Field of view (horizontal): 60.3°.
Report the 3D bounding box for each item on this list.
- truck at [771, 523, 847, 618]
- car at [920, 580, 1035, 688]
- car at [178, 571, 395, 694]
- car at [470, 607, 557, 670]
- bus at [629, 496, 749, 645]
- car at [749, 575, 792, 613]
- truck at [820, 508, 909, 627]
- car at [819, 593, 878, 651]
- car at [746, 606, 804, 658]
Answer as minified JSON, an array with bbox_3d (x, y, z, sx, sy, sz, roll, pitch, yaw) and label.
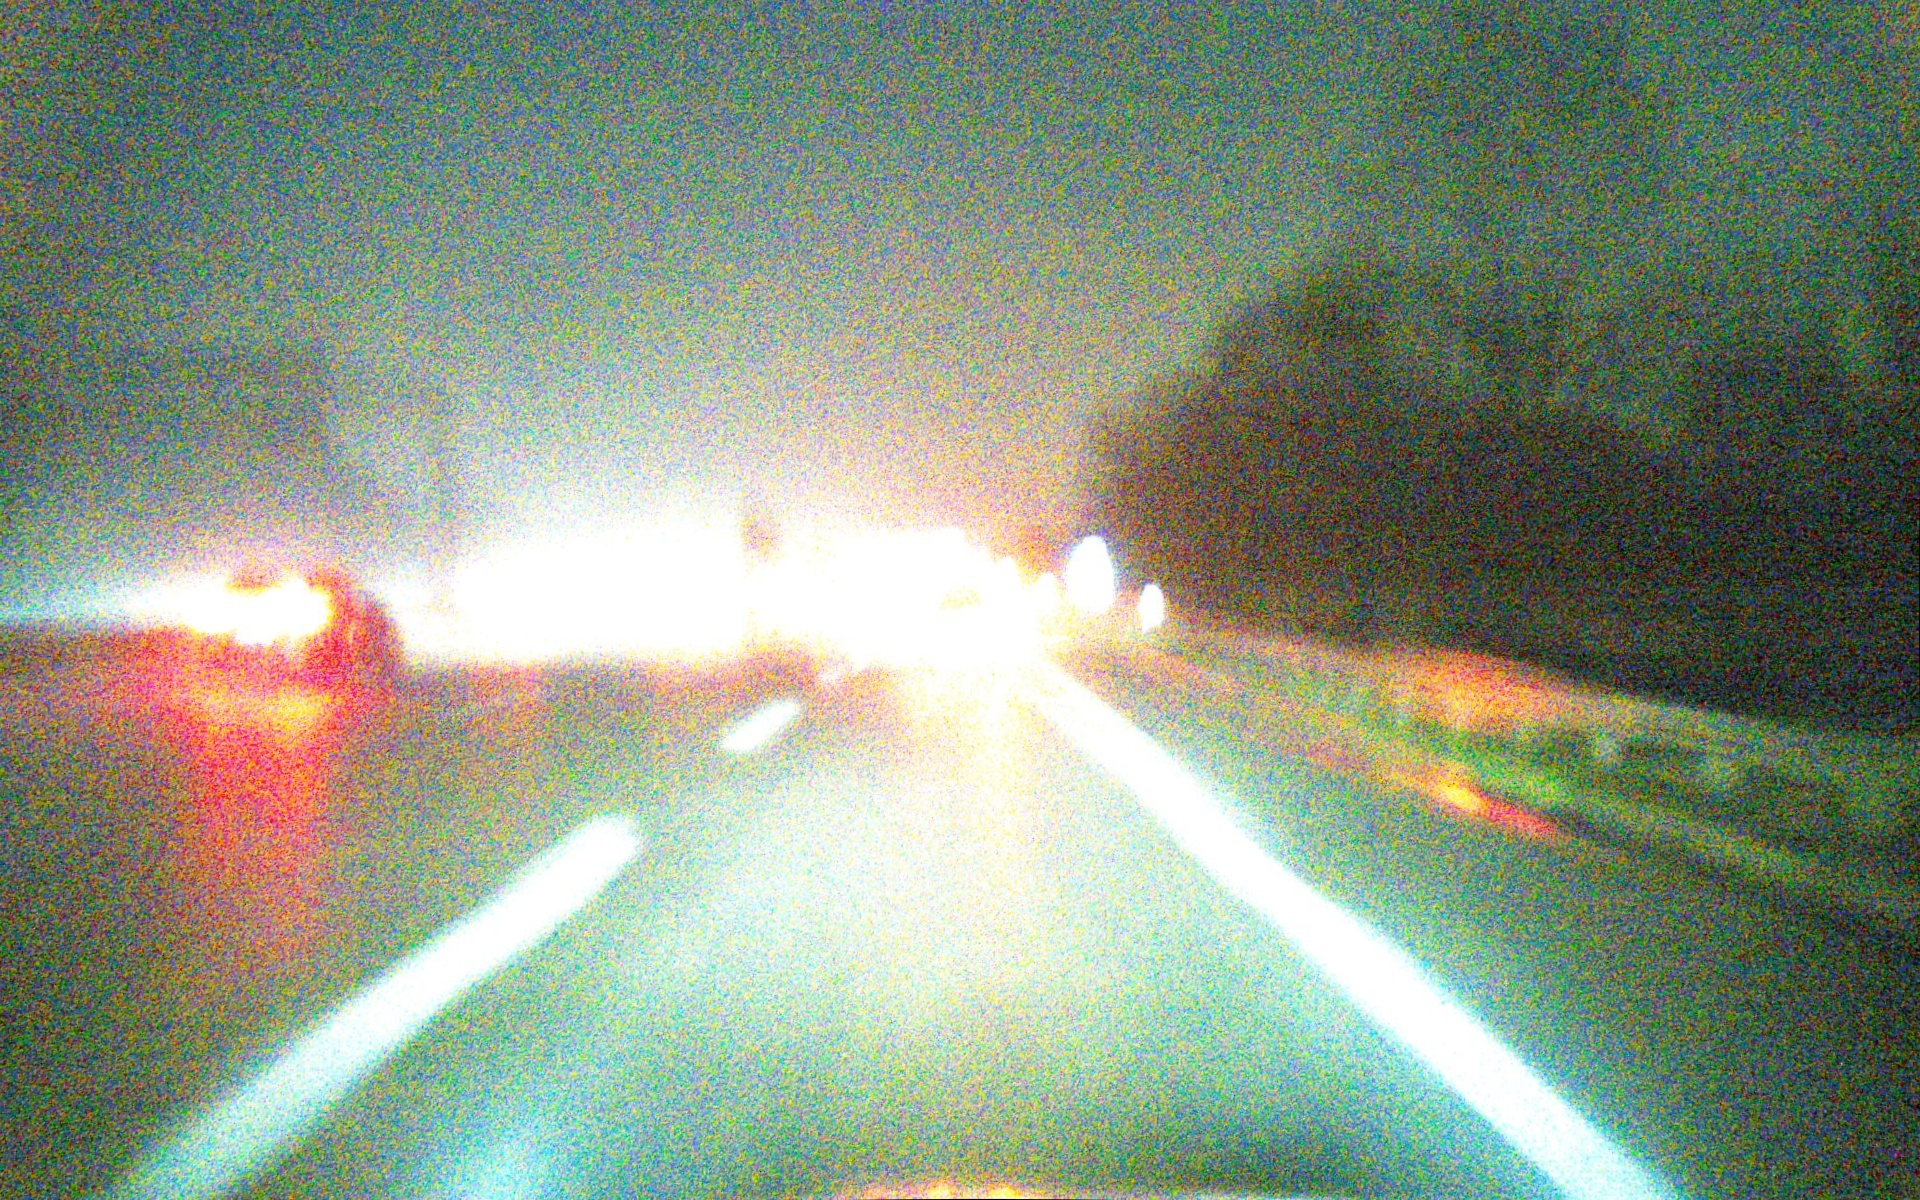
[{"bbox_3d":[-9.669,-1.794,107.428,4.125,5.747,11.463,1,0,-2],"label":"truck"},{"bbox_3d":[0.271,0.598,30.665,1.953,1.839,3.999,1,0,-1],"label":"car"},{"bbox_3d":[-9.783,0.453,24.358,1.956,1.624,3.993,1,0,-7],"label":"car"},{"bbox_3d":[-12.482,1.049,46.446,1.661,1.679,3.836,1,0,-5],"label":"car"},{"bbox_3d":[-9.130,-0.892,56.910,3.036,4.587,10.903,1,0,-4],"label":"bus"},{"bbox_3d":[-9.419,-0.287,82.459,1.954,1.839,3.997,1,0,-4],"label":"car"},{"bbox_3d":[-4.823,-1.552,86.260,4.125,5.747,11.463,1,0,-2],"label":"truck"},{"bbox_3d":[-4.131,0.818,61.843,2.084,2.049,4.642,1,0,-3],"label":"car"},{"bbox_3d":[-6.891,1.182,61.926,1.954,1.839,3.997,1,0,-4],"label":"car"}]
